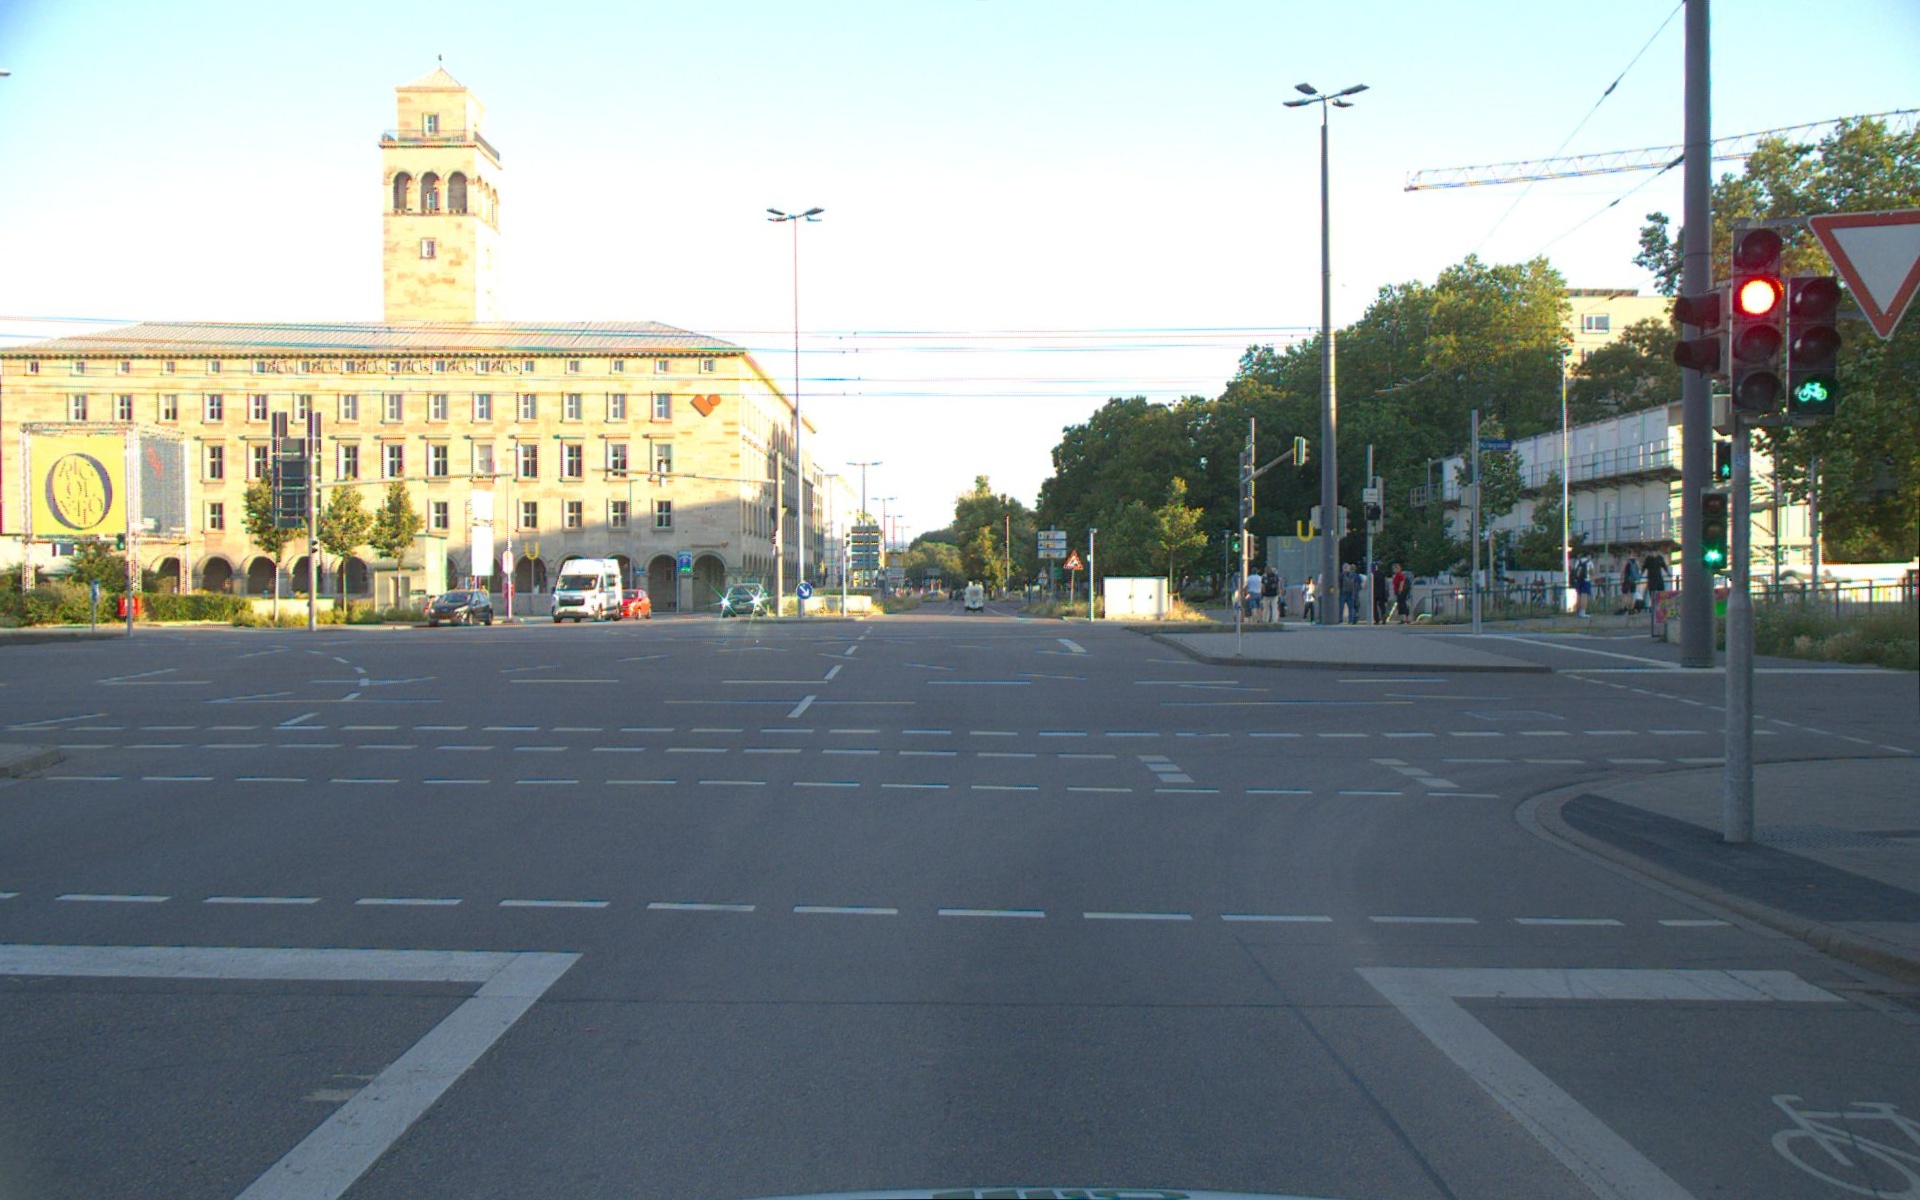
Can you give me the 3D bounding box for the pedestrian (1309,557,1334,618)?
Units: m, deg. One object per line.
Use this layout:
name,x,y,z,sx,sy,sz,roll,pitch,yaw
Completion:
pedestrian,10.503,-0.355,48.094,0.695,1.755,0.916,0,1,13

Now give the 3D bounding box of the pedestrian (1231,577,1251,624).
pedestrian,10.351,0.007,60.901,0.548,1.683,0.902,0,1,20

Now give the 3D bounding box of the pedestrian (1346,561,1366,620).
pedestrian,11.633,-0.287,48.576,0.560,1.708,0.639,0,1,13

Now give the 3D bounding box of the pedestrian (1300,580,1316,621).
pedestrian,12.726,0.014,60.418,0.560,1.463,0.639,0,1,11

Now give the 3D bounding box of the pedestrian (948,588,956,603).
pedestrian,-0.997,-0.526,194.455,0.888,1.700,1.306,-1,1,-2

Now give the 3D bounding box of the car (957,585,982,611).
car,0.635,-0.116,113.291,1.454,1.725,2.972,-1,1,-4

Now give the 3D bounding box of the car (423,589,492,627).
car,-21.193,0.299,69.910,1.786,1.491,4.156,-1,1,-2

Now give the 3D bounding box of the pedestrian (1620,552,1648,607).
pedestrian,18.078,-0.547,44.384,0.662,1.466,0.714,0,1,21

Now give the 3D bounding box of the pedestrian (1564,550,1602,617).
pedestrian,16.456,-0.446,43.722,0.661,1.755,0.703,-1,1,-38

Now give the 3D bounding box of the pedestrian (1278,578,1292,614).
pedestrian,17.133,-0.202,87.221,0.652,1.874,0.713,0,1,4

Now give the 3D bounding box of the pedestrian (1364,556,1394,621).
pedestrian,11.876,-0.335,46.876,0.788,1.822,0.801,0,1,13

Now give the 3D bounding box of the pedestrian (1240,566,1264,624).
pedestrian,8.996,-0.158,50.892,0.695,1.755,0.669,0,1,13

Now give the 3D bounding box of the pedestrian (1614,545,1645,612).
pedestrian,17.652,-0.567,43.616,0.696,1.755,0.669,0,1,16

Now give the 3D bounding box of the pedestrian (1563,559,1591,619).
pedestrian,16.803,-0.294,45.045,0.559,1.620,0.536,-1,0,-1

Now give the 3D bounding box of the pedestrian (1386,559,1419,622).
pedestrian,12.468,-0.269,46.615,0.826,1.764,0.706,0,1,11

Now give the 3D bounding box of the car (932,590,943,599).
car,-3.149,-0.786,234.933,1.343,1.255,3.043,-1,1,-4

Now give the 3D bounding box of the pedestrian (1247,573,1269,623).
pedestrian,10.926,-0.076,60.650,0.665,1.788,0.902,0,1,20

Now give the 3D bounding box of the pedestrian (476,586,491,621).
pedestrian,-24.334,0.197,84.515,0.609,1.774,0.459,1,-1,-6

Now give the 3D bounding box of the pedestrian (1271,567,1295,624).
pedestrian,9.901,-0.142,50.695,0.695,1.755,0.669,0,1,13

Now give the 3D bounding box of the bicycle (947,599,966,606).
bicycle,-0.453,0.344,222.629,2.560,0.975,0.512,1,-1,-17

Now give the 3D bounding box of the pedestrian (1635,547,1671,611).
pedestrian,19.112,-0.575,45.632,0.696,1.755,0.668,0,1,-2

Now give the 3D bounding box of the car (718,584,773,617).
car,-9.360,-0.010,72.428,1.785,1.365,4.001,0,1,1

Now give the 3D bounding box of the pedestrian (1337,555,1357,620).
pedestrian,11.044,-0.359,47.207,0.560,1.822,0.639,0,1,13

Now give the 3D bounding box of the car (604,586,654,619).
car,-16.096,0.108,80.554,1.703,1.513,4.000,-1,1,-1

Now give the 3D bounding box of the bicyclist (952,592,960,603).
bicyclist,-0.548,-0.370,222.600,0.817,1.489,0.657,-1,1,-17

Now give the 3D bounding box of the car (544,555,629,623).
car,-16.244,-0.488,72.236,2.232,2.824,6.085,-1,1,1

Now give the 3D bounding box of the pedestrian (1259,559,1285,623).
pedestrian,8.688,-0.265,46.072,0.695,1.755,0.916,0,1,11
